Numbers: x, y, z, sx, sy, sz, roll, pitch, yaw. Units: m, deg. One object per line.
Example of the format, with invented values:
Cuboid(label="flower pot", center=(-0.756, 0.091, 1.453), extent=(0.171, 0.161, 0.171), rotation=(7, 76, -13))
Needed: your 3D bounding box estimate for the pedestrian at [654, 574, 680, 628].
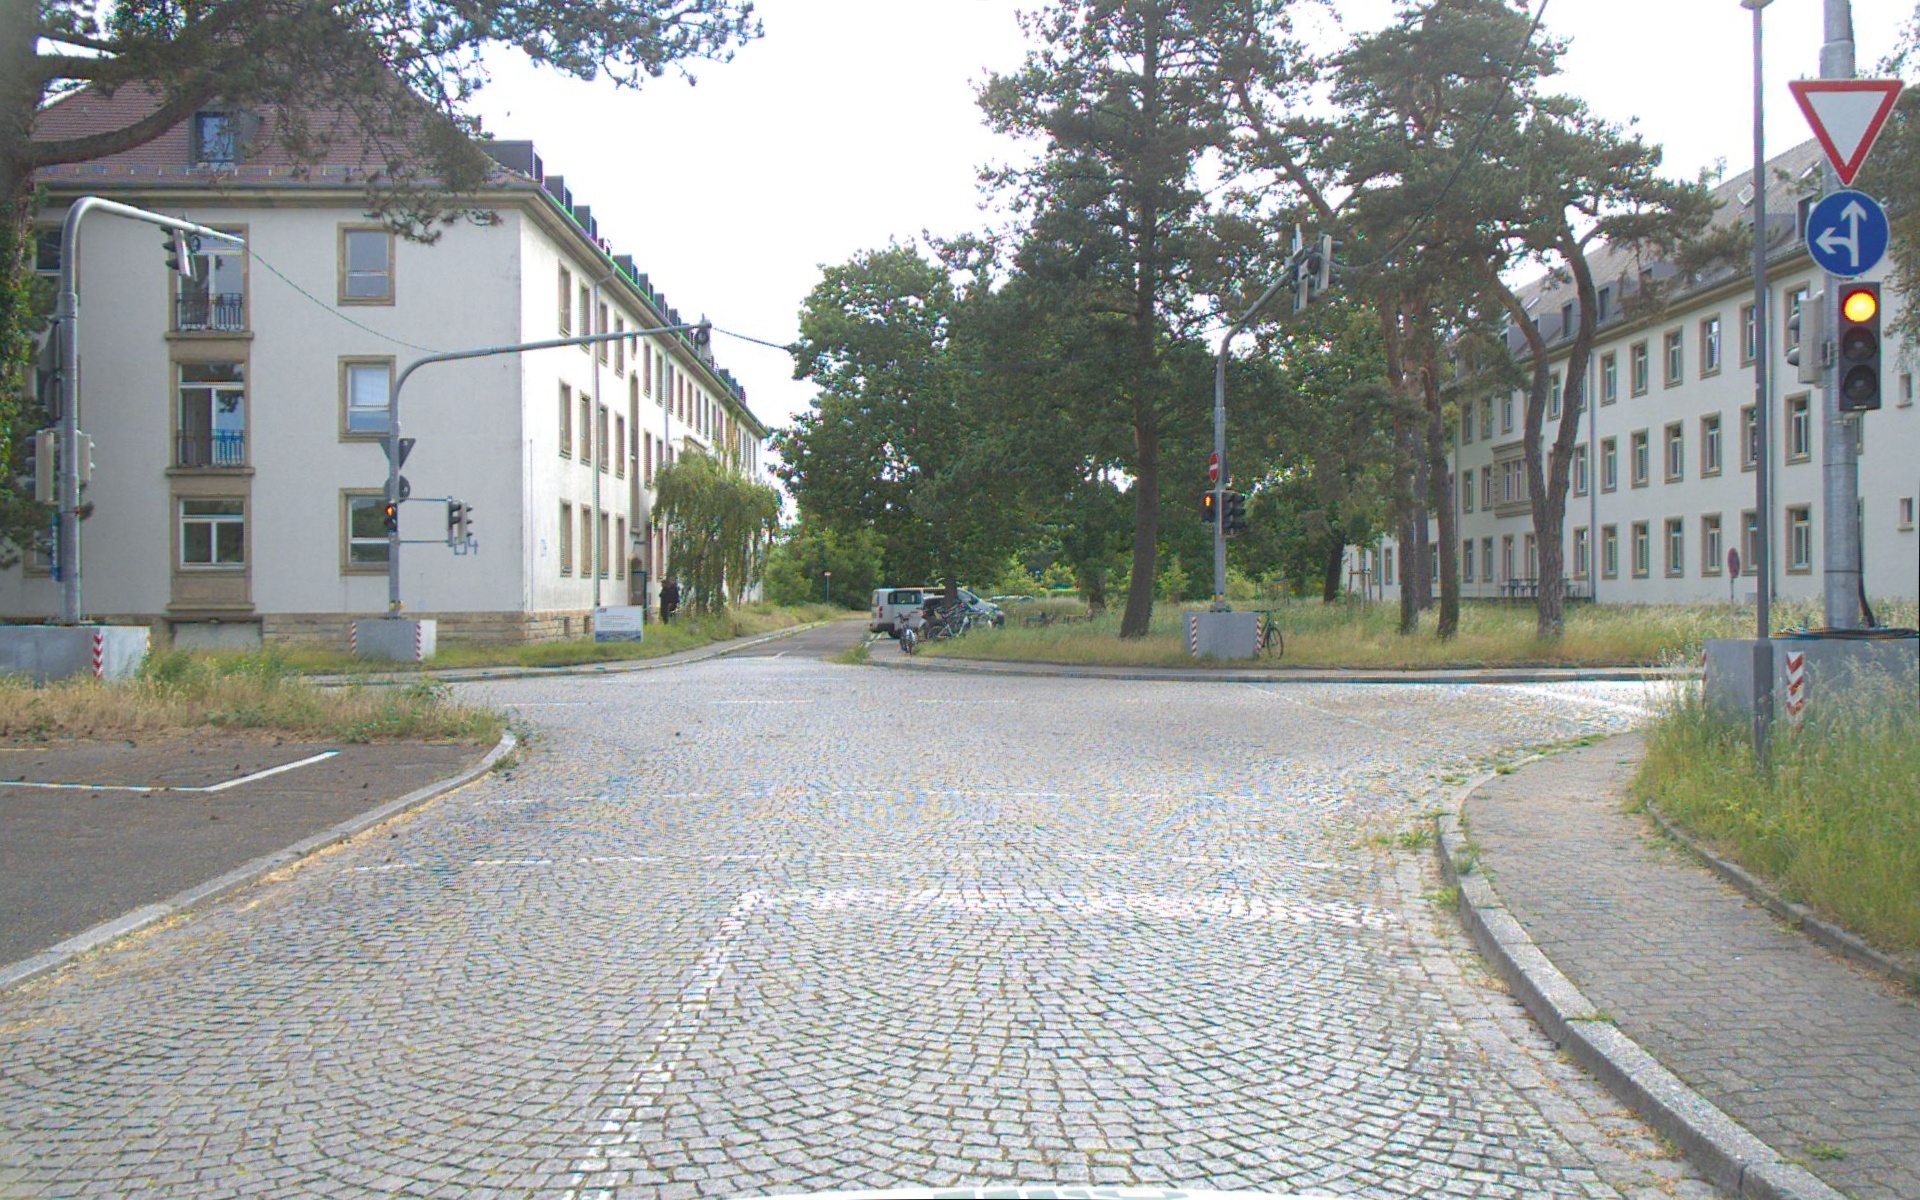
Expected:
Cuboid(label="pedestrian", center=(-10.937, 0.043, 61.685), extent=(0.850, 1.966, 0.834), rotation=(2, -1, -13))

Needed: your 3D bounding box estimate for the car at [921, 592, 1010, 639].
Cuboid(label="car", center=(0.174, 0.576, 60.602), extent=(3.160, 1.649, 1.936), rotation=(1, -1, -3))

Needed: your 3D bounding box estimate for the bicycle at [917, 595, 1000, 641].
Cuboid(label="bicycle", center=(-0.061, 0.546, 50.787), extent=(2.516, 1.396, 0.950), rotation=(0, 0, -3))

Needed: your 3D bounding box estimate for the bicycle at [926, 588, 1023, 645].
Cuboid(label="bicycle", center=(0.399, 0.463, 47.479), extent=(2.746, 1.611, 0.950), rotation=(0, 0, -2))

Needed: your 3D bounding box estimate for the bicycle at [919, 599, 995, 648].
Cuboid(label="bicycle", center=(-0.084, 0.654, 45.982), extent=(2.070, 1.329, 0.874), rotation=(0, 0, -2))

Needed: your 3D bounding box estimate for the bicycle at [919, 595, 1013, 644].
Cuboid(label="bicycle", center=(0.164, 0.566, 48.937), extent=(2.746, 1.396, 0.950), rotation=(0, 0, -2))

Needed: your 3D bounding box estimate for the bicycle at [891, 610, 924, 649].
Cuboid(label="bicycle", center=(-1.404, 0.782, 44.653), extent=(0.712, 1.014, 1.979), rotation=(0, 0, 3))

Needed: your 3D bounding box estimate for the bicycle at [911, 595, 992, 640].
Cuboid(label="bicycle", center=(-0.282, 0.554, 52.458), extent=(2.516, 1.396, 0.950), rotation=(0, 0, -3))

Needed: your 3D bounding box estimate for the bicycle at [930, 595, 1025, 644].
Cuboid(label="bicycle", center=(0.499, 0.567, 48.413), extent=(2.746, 1.396, 0.950), rotation=(0, 0, -2))

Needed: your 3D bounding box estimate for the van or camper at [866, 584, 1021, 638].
Cuboid(label="van or camper", center=(-0.657, 0.406, 64.087), extent=(5.644, 1.991, 2.229), rotation=(0, 0, -14))

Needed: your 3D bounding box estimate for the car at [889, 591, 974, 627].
Cuboid(label="car", center=(-1.359, 0.428, 77.894), extent=(3.908, 1.628, 1.702), rotation=(-1, 0, -4))

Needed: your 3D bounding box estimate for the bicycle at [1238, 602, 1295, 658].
Cuboid(label="bicycle", center=(6.306, 0.596, 34.085), extent=(0.632, 1.081, 1.832), rotation=(-4, 0, -4))

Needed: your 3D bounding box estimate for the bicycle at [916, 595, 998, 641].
Cuboid(label="bicycle", center=(-0.098, 0.551, 51.626), extent=(2.516, 1.396, 0.950), rotation=(0, 0, -3))

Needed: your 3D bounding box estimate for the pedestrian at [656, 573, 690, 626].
Cuboid(label="pedestrian", center=(-10.584, -0.004, 60.904), extent=(1.173, 1.903, 1.545), rotation=(1, -1, -12))

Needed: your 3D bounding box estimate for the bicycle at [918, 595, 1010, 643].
Cuboid(label="bicycle", center=(0.110, 0.571, 49.829), extent=(2.746, 1.396, 0.950), rotation=(0, 0, -2))

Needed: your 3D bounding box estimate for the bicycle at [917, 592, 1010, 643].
Cuboid(label="bicycle", center=(0.084, 0.481, 46.599), extent=(2.566, 1.391, 0.874), rotation=(0, 0, -2))

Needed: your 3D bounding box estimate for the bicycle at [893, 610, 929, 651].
Cuboid(label="bicycle", center=(-1.272, 0.769, 42.564), extent=(0.882, 1.014, 1.978), rotation=(0, 0, -2))
